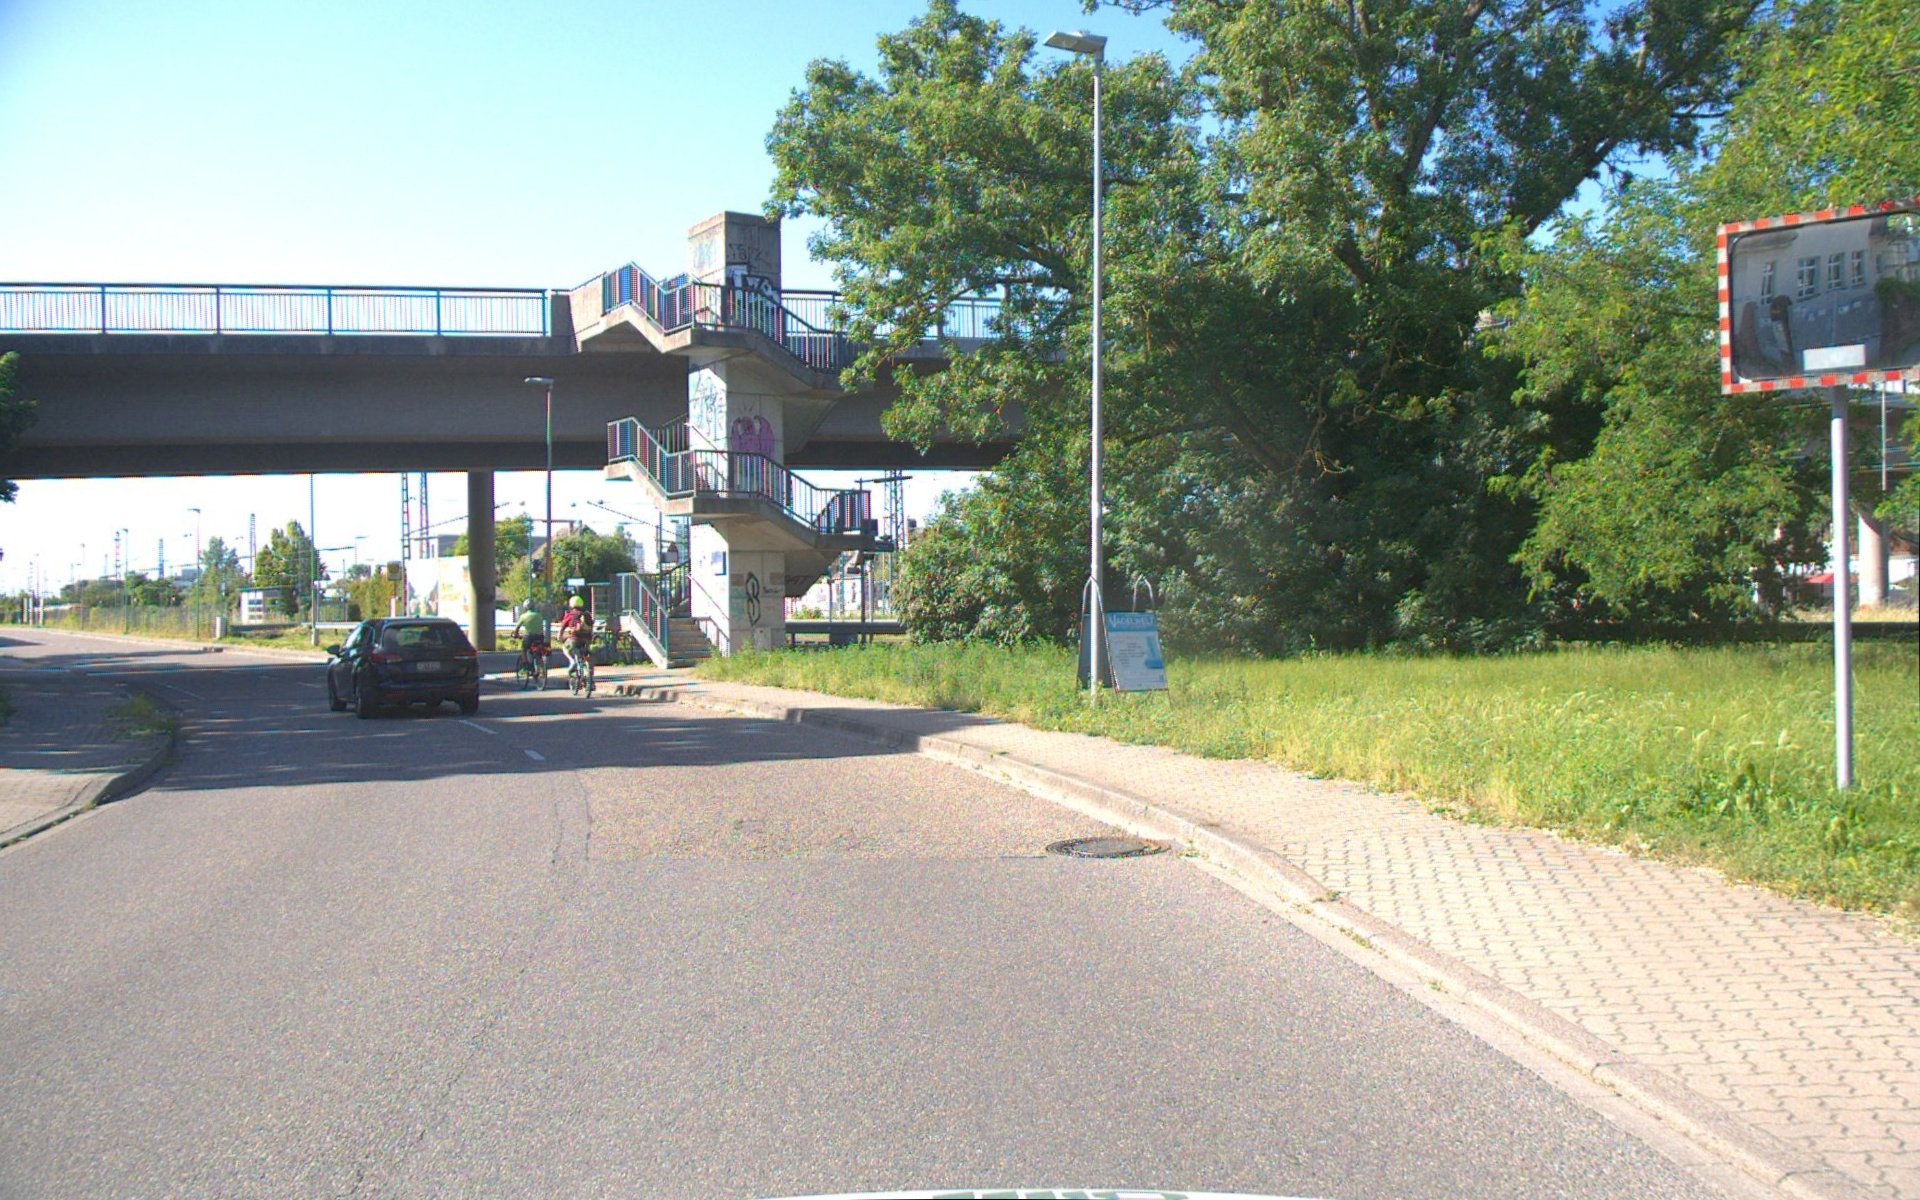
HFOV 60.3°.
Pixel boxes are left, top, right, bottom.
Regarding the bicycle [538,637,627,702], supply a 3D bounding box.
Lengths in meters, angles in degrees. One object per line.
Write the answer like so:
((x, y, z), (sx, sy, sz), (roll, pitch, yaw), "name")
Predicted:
((-6.736, 1.217, 29.404), (0.833, 1.070, 2.164), (-1, 0, -33), "bicycle")

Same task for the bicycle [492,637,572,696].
((-8.373, 1.279, 32.294), (0.833, 1.070, 2.163), (-1, 0, -34), "bicycle")

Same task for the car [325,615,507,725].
((-8.593, 1.033, 25.874), (1.921, 1.515, 4.521), (-1, -1, -29), "car")

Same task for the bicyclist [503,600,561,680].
((-8.360, 0.769, 32.281), (0.833, 1.514, 0.912), (-1, 0, -35), "bicyclist")

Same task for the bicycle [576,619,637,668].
((-9.029, 1.094, 42.179), (0.593, 1.203, 2.151), (-1, 0, -39), "bicycle")

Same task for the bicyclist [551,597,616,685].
((-6.674, 0.722, 29.306), (0.833, 1.514, 0.913), (-1, 0, -34), "bicyclist")
